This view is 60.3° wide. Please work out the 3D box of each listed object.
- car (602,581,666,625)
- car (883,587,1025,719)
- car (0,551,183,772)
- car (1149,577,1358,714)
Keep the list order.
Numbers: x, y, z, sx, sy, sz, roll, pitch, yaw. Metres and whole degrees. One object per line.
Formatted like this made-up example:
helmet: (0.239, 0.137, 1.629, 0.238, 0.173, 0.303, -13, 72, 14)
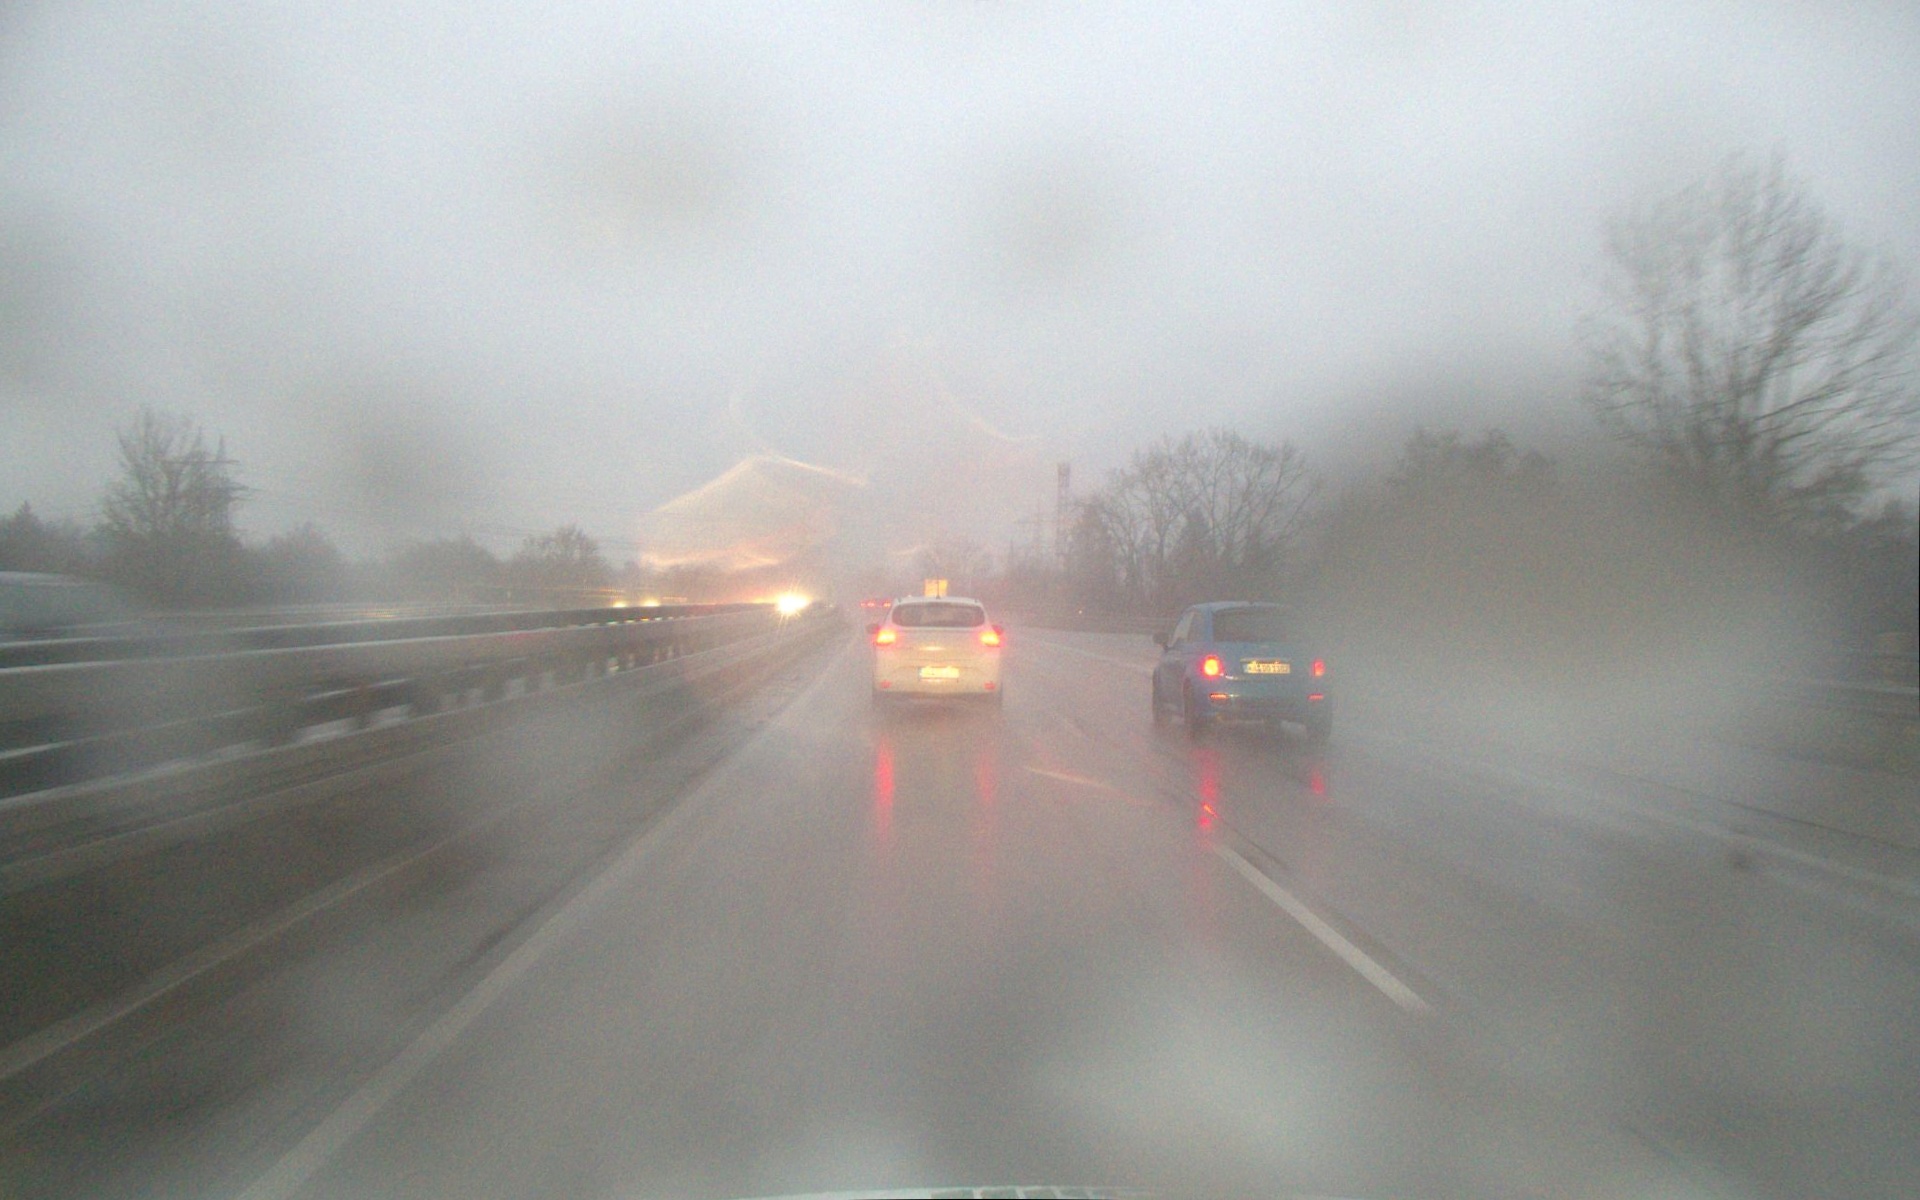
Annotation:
car: (-14.409, 0.128, 73.304, 1.856, 1.815, 4.703, 1, 0, 0)
car: (-0.099, 0.668, 23.111, 1.808, 1.664, 3.767, 1, 1, -1)
car: (-8.073, 0.426, 13.286, 1.705, 1.668, 4.000, 3, 0, 0)
car: (3.465, 0.483, 20.261, 1.808, 1.479, 4.148, 1, 1, 0)
